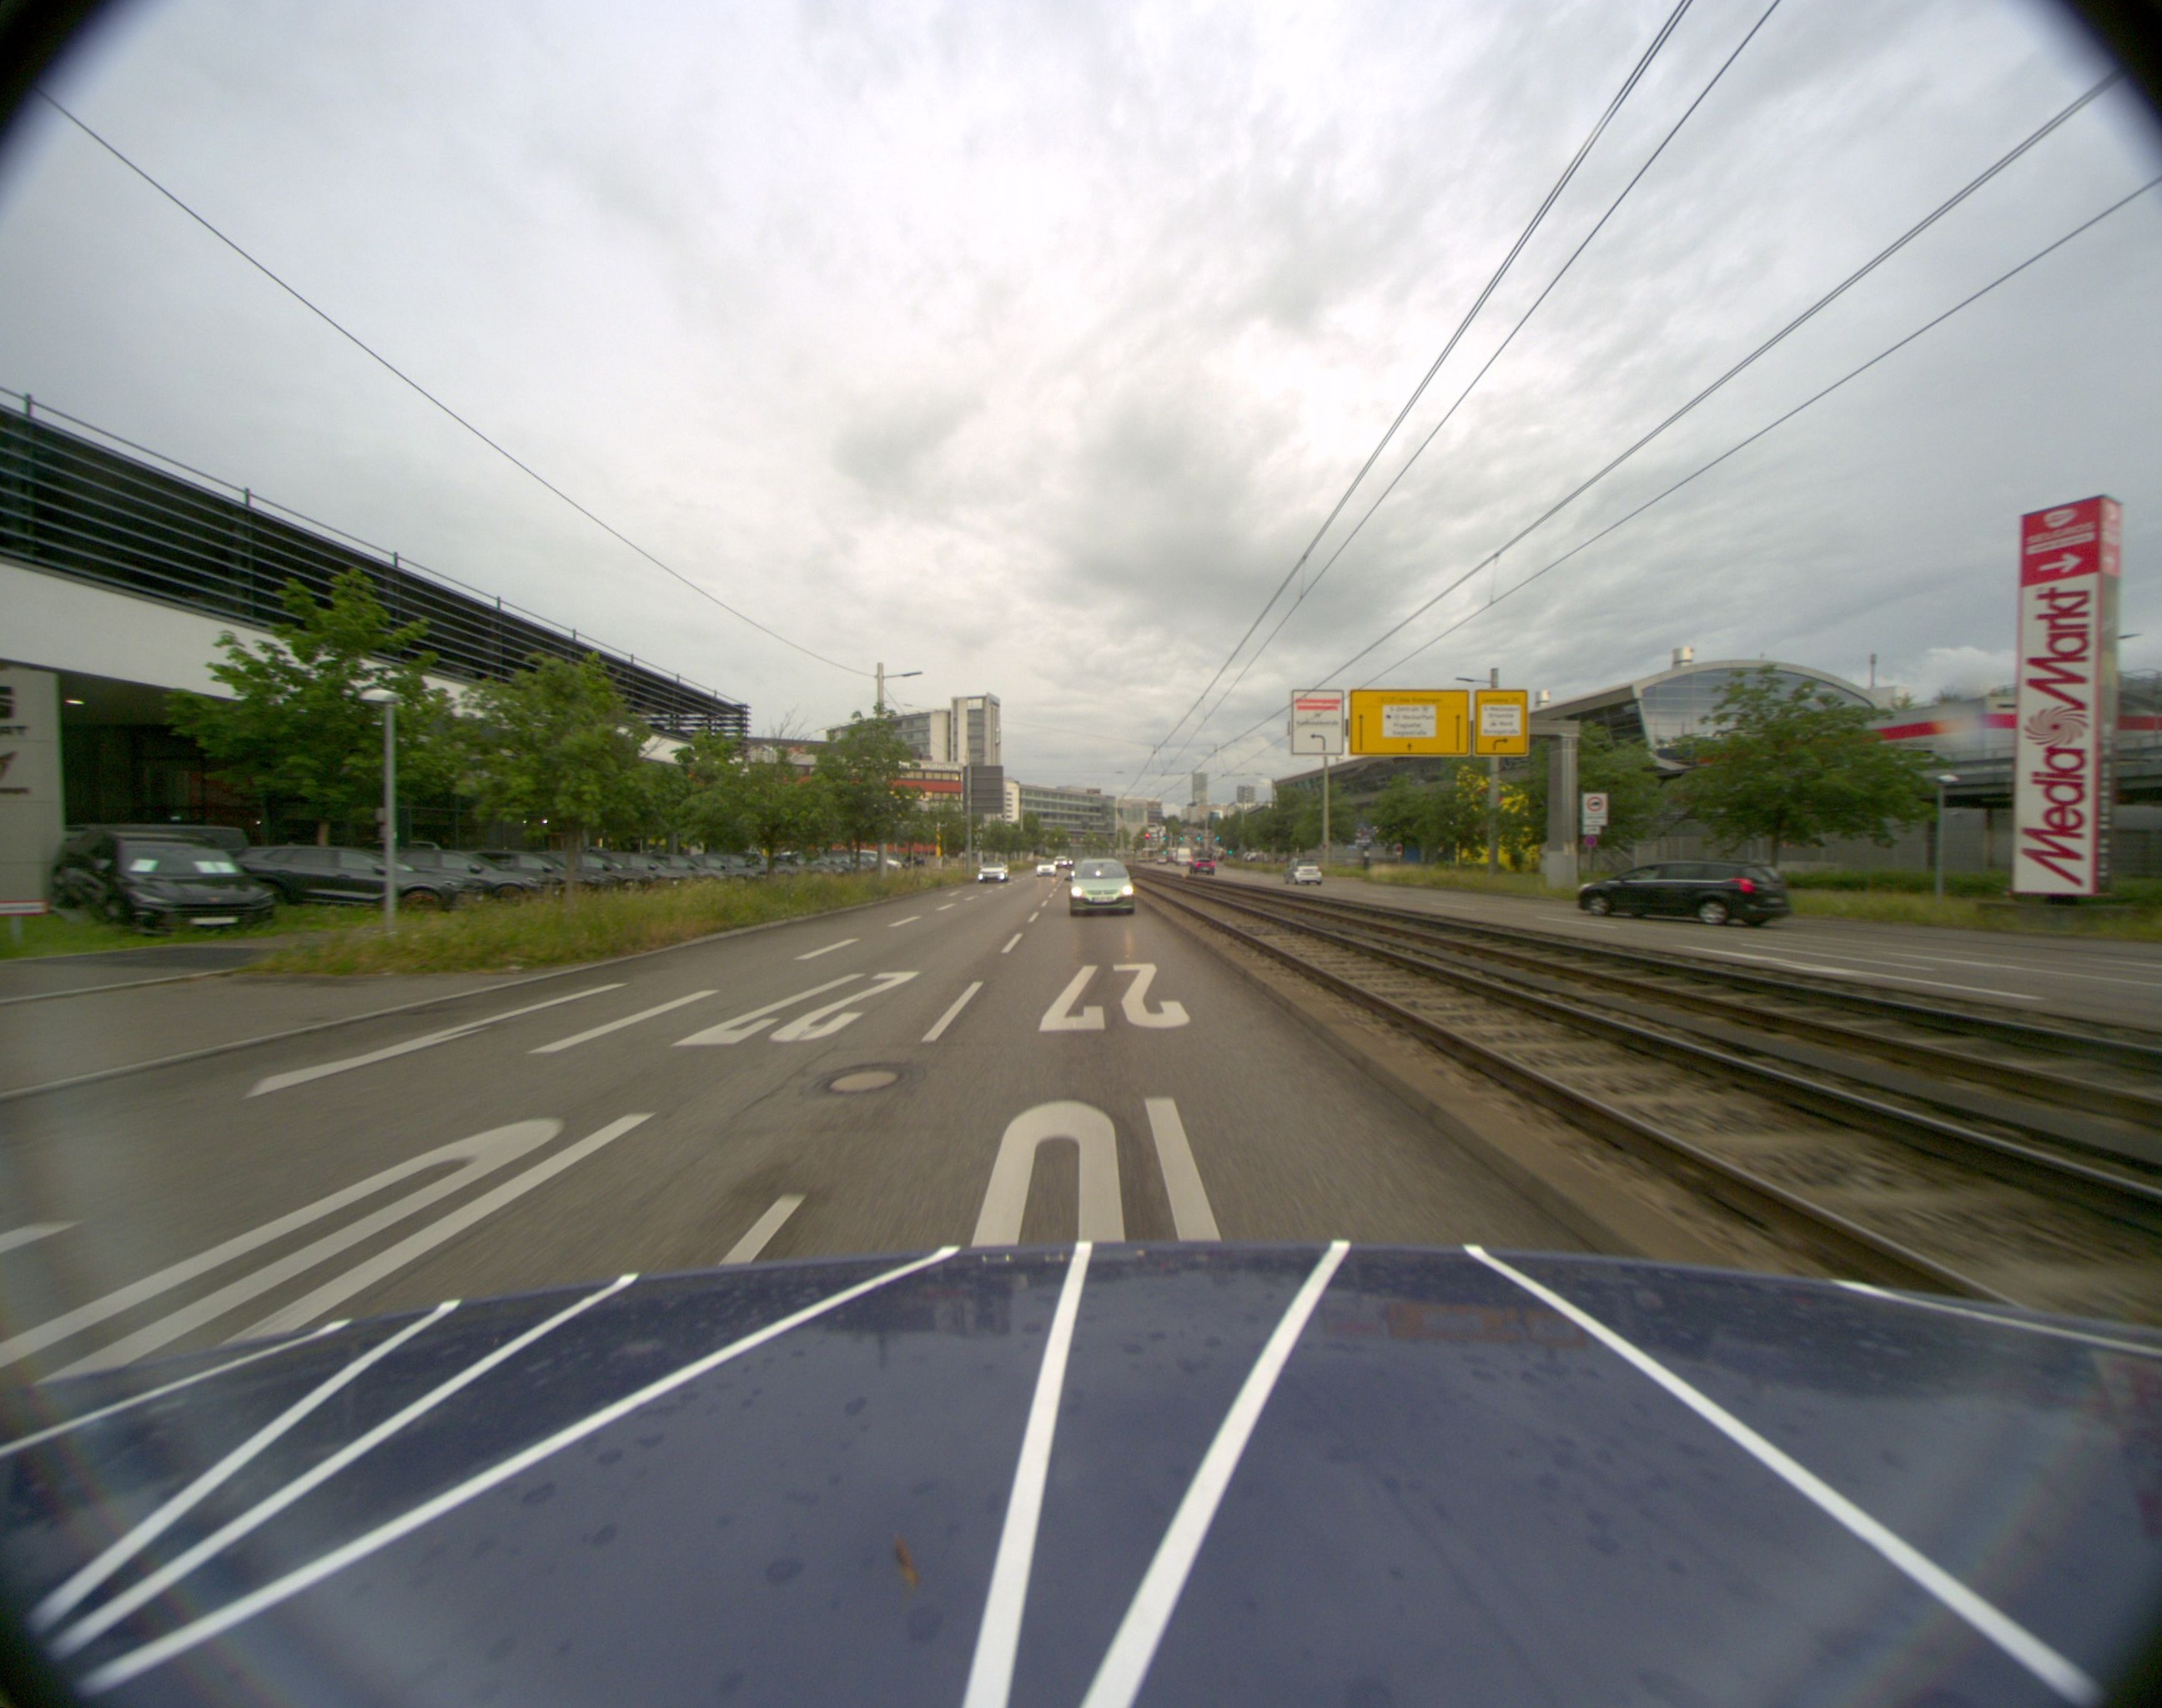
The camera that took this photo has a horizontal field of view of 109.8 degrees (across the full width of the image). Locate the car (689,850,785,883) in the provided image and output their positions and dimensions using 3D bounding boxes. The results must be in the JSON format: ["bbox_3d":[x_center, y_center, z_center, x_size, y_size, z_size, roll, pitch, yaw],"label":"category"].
[{"bbox_3d":[-16.934,0.636,37.597,4.156,1.525,1.791,1,0,-19],"label":"car"}]

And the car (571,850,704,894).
[{"bbox_3d":[-17.001,0.697,29.359,4.157,1.560,1.906,1,0,-20],"label":"car"}]

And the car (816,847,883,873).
[{"bbox_3d":[-16.964,0.463,55.902,4.502,1.785,1.819,1,0,-13],"label":"car"}]

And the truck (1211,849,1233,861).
[{"bbox_3d":[45.335,0.327,243.927,4.082,3.734,10.873,0,0,26],"label":"truck"}]

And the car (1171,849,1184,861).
[{"bbox_3d":[21.555,0.164,169.914,2.438,2.486,6.549,1,0,4],"label":"car"}]

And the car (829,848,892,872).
[{"bbox_3d":[-17.004,0.446,58.827,4.502,1.742,1.819,1,0,-13],"label":"car"}]

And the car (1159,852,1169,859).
[{"bbox_3d":[20.006,0.330,183.720,1.998,1.721,4.678,1,0,2],"label":"car"}]

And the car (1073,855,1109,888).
[{"bbox_3d":[0.586,0.893,40.420,1.762,1.535,3.714,-3,0,2],"label":"car"}]

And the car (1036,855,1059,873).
[{"bbox_3d":[-2.996,0.883,67.898,1.818,1.584,3.836,0,0,1],"label":"car"}]

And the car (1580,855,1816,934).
[{"bbox_3d":[15.606,0.949,19.509,2.003,1.725,4.203,2,0,-24],"label":"car"}]

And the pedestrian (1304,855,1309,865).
[{"bbox_3d":[31.698,0.848,106.879,0.452,1.447,0.652,-3,1,-10],"label":"pedestrian"}]

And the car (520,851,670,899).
[{"bbox_3d":[-16.805,0.720,26.525,4.158,1.560,1.823,1,0,-24],"label":"car"}]

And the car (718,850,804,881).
[{"bbox_3d":[-16.824,0.599,40.180,4.061,1.567,1.730,1,0,-19],"label":"car"}]

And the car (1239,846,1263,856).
[{"bbox_3d":[39.080,-0.614,174.501,5.067,2.318,1.997,0,0,-16],"label":"car"}]

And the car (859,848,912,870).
[{"bbox_3d":[-17.042,0.404,66.262,4.393,1.779,1.876,1,0,-14],"label":"car"}]

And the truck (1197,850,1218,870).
[{"bbox_3d":[16.950,0.720,101.855,2.243,2.550,7.017,0,0,5],"label":"truck"}]

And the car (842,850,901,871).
[{"bbox_3d":[-16.834,0.525,61.360,4.502,1.628,1.819,1,0,-14],"label":"car"}]

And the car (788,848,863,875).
[{"bbox_3d":[-16.889,0.496,50.482,4.501,1.653,1.819,1,0,-11],"label":"car"}]

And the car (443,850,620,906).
[{"bbox_3d":[-16.930,0.733,23.661,4.158,1.595,1.823,1,0,-24],"label":"car"}]

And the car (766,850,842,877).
[{"bbox_3d":[-16.622,0.559,45.754,4.058,1.493,1.685,1,0,-11],"label":"car"}]

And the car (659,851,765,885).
[{"bbox_3d":[-16.838,0.648,34.874,4.156,1.450,1.791,1,0,-19],"label":"car"}]

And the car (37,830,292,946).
[{"bbox_3d":[-17.226,0.533,14.256,4.709,1.865,1.828,1,0,24],"label":"car"}]

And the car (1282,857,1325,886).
[{"bbox_3d":[13.015,0.992,44.518,1.602,1.528,2.950,2,2,0],"label":"car"}]

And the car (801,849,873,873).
[{"bbox_3d":[-16.974,0.483,52.981,4.500,1.610,1.820,1,0,-9],"label":"car"}]

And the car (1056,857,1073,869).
[{"bbox_3d":[-2.339,1.273,108.043,1.889,1.584,3.983,-1,0,6],"label":"car"}]

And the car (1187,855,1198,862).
[{"bbox_3d":[22.085,0.903,150.465,1.901,1.480,4.424,0,0,4],"label":"car"}]

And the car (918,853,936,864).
[{"bbox_3d":[-21.465,0.586,105.844,1.784,1.410,3.782,1,0,0],"label":"car"}]

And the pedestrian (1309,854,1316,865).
[{"bbox_3d":[31.321,0.691,102.893,0.609,1.431,0.745,-3,1,-4],"label":"pedestrian"}]

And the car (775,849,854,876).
[{"bbox_3d":[-16.782,0.534,48.076,4.501,1.560,1.819,1,0,-11],"label":"car"}]

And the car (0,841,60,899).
[{"bbox_3d":[-30.281,0.410,20.105,4.043,1.504,1.723,0,1,-2],"label":"car"}]

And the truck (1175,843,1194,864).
[{"bbox_3d":[18.915,-0.115,139.262,2.733,3.340,7.150,2,3,3],"label":"truck"}]

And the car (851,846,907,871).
[{"bbox_3d":[-16.977,0.411,63.833,4.504,1.980,1.818,1,0,-18],"label":"car"}]

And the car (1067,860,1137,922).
[{"bbox_3d":[0.555,0.966,21.424,1.762,1.489,4.137,-1,0,0],"label":"car"}]

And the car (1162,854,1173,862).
[{"bbox_3d":[17.175,0.863,151.699,1.810,1.490,4.442,2,0,2],"label":"car"}]

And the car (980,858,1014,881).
[{"bbox_3d":[-5.987,1.080,54.391,1.878,1.485,3.837,-1,0,1],"label":"car"}]

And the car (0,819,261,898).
[{"bbox_3d":[-25.780,0.102,20.795,1.891,1.927,4.429,0,0,-1],"label":"car"}]

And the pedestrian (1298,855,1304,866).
[{"bbox_3d":[30.964,0.881,107.077,0.512,1.447,0.652,-3,1,-10],"label":"pedestrian"}]

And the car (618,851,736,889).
[{"bbox_3d":[-16.965,0.677,32.109,4.156,1.519,1.828,1,0,-19],"label":"car"}]

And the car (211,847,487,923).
[{"bbox_3d":[-16.986,0.689,17.975,4.342,1.603,1.865,1,0,-29],"label":"car"}]

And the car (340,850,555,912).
[{"bbox_3d":[-17.027,0.707,20.730,4.158,1.553,1.865,1,0,-26],"label":"car"}]

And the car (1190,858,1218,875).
[{"bbox_3d":[10.830,1.073,66.953,1.807,1.420,4.236,1,0,1],"label":"car"}]
